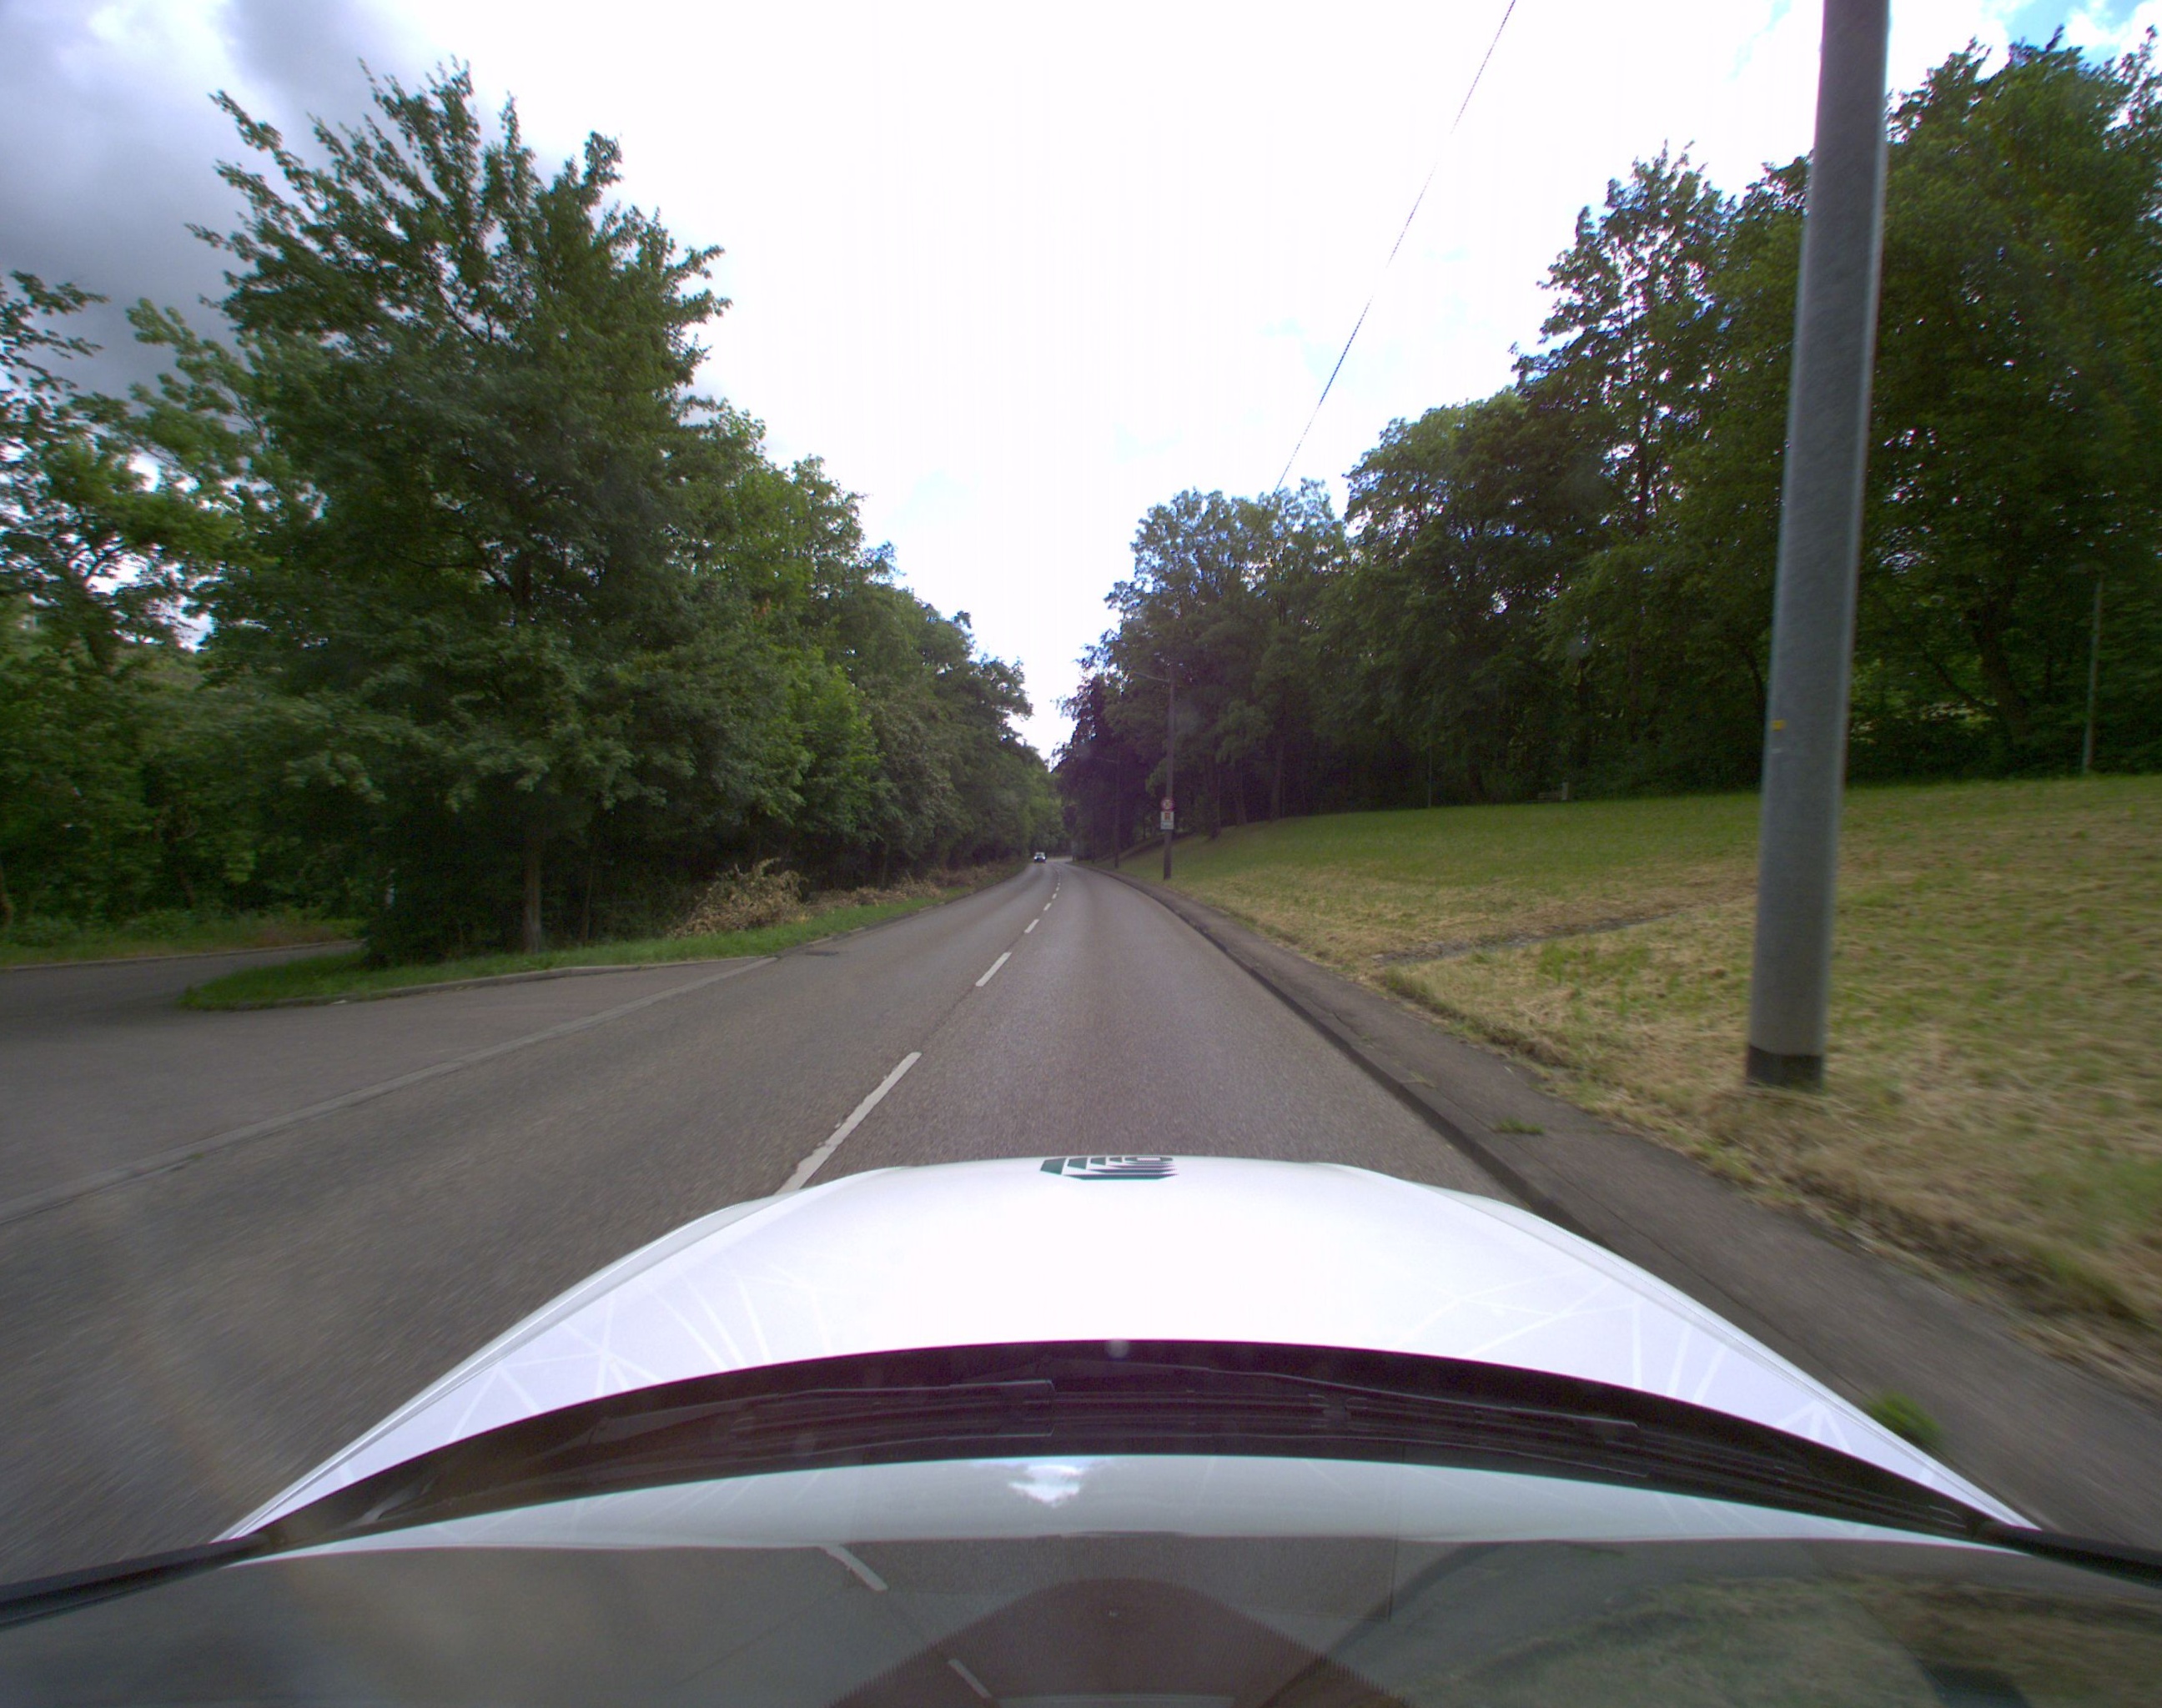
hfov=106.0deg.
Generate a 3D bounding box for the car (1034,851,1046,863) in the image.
[{"bbox_3d":[-7.197,0.522,143.335,1.988,1.948,4.942,0,-1,-2],"label":"car"}]
